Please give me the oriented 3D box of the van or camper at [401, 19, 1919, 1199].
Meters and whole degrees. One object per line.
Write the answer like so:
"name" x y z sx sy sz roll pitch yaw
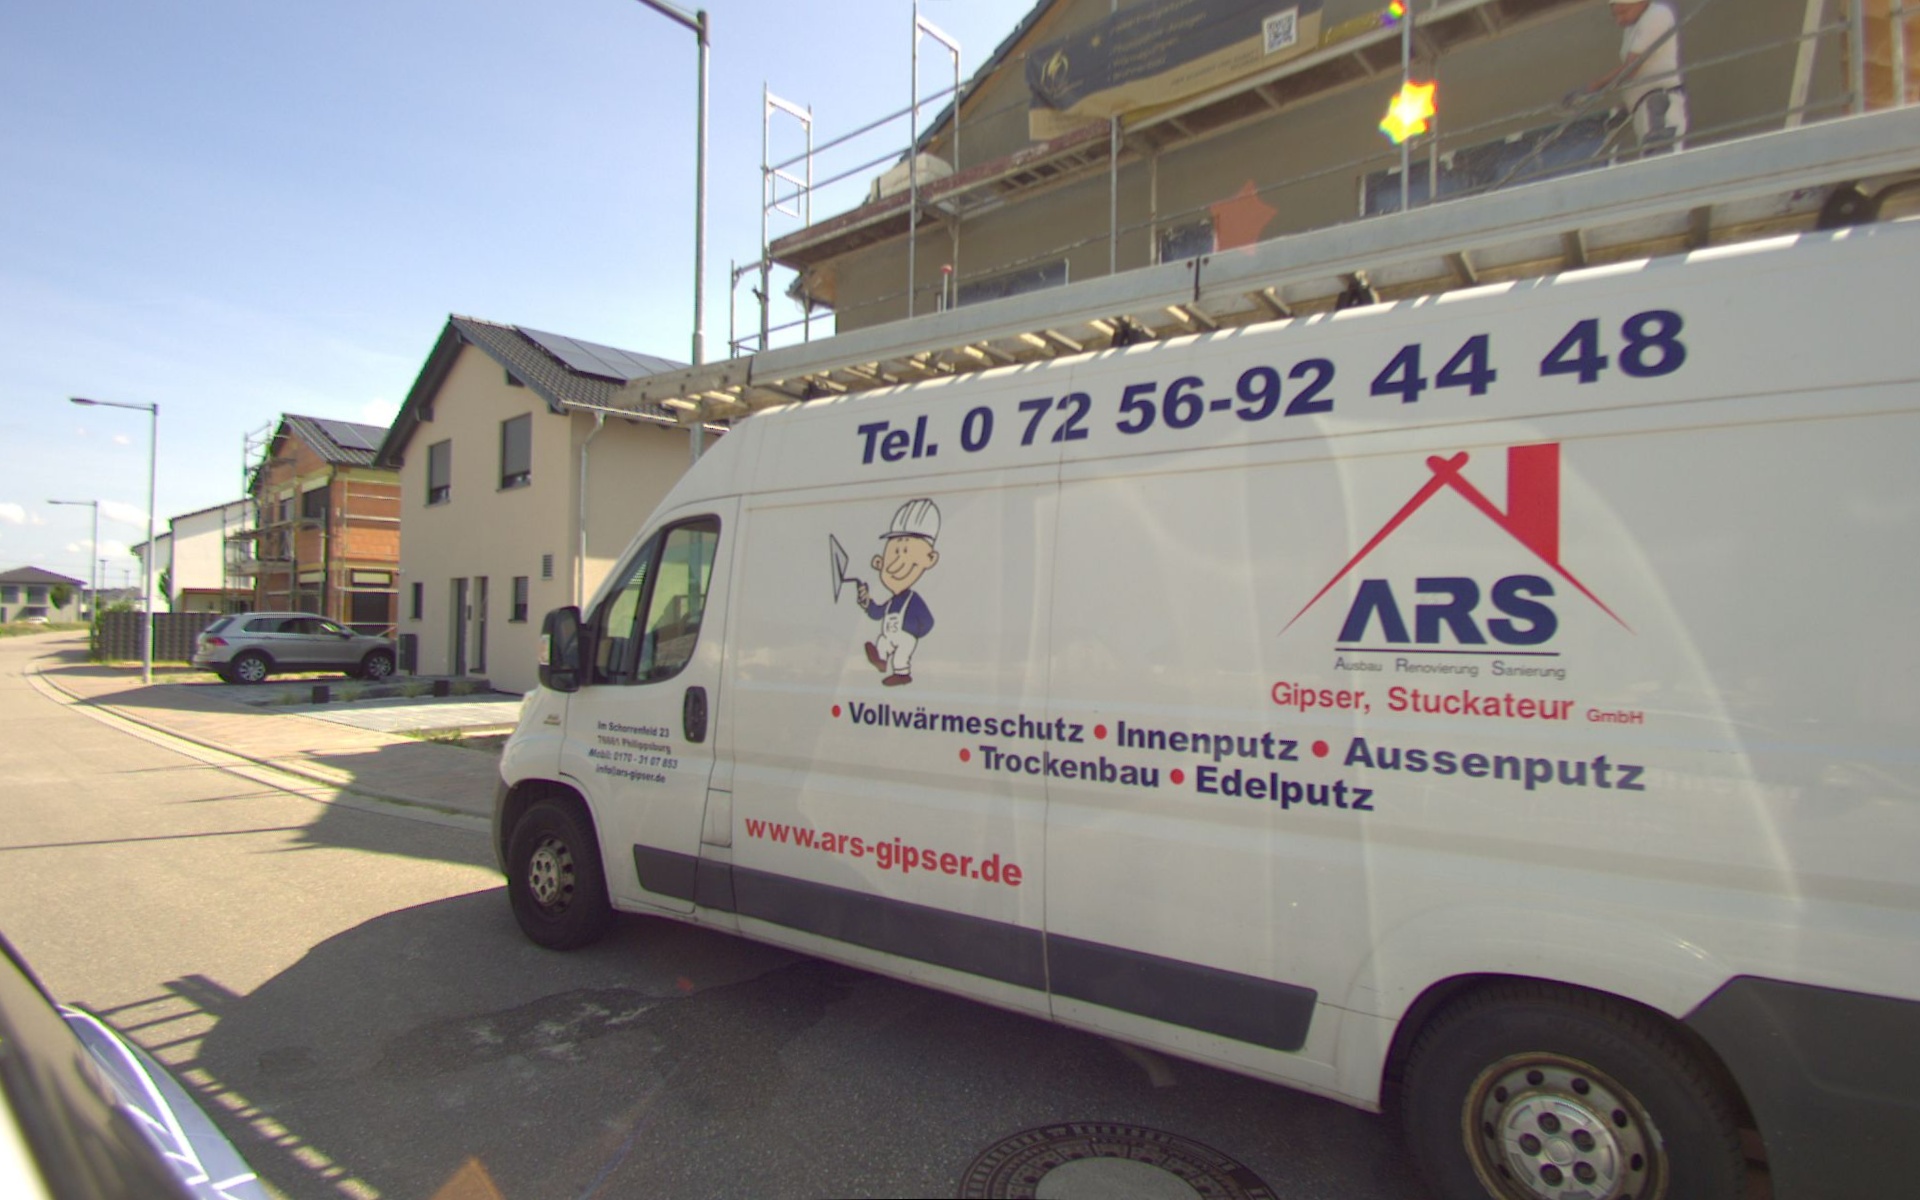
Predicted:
"van or camper" 0.421 0.234 4.214 6.353 2.573 2.253 0 -2 36

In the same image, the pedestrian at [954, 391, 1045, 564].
"pedestrian" 0.421 -1.252 10.649 0.577 1.692 0.739 1 -1 37

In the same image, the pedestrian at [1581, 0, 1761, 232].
"pedestrian" 4.585 -3.244 6.560 0.739 1.511 0.562 2 -1 5

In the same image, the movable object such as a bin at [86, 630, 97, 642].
"movable object such as a bin" -68.697 2.873 80.084 0.588 0.928 0.463 2 -2 -35

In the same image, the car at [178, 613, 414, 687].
"car" -15.973 1.187 24.522 1.999 1.624 4.378 -1 -3 41
